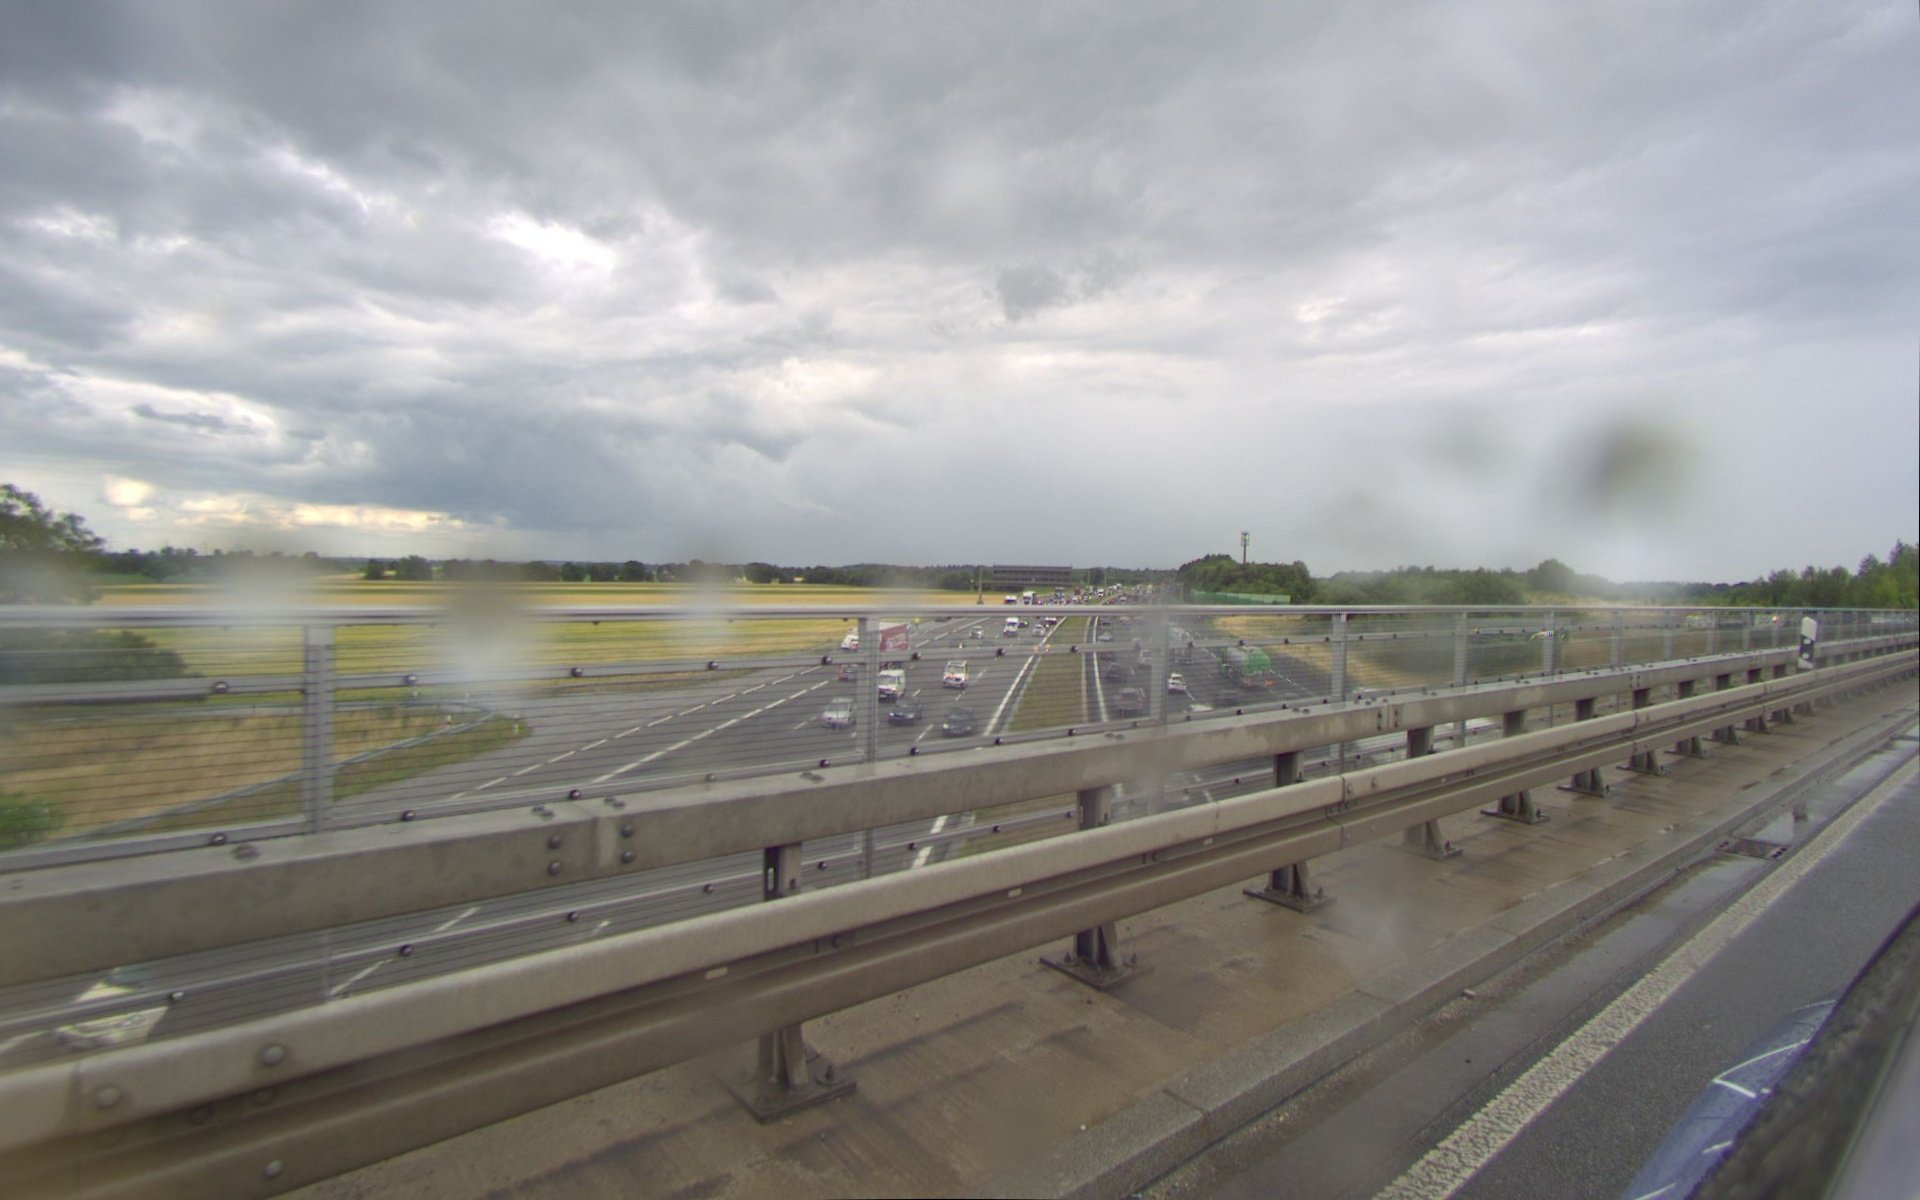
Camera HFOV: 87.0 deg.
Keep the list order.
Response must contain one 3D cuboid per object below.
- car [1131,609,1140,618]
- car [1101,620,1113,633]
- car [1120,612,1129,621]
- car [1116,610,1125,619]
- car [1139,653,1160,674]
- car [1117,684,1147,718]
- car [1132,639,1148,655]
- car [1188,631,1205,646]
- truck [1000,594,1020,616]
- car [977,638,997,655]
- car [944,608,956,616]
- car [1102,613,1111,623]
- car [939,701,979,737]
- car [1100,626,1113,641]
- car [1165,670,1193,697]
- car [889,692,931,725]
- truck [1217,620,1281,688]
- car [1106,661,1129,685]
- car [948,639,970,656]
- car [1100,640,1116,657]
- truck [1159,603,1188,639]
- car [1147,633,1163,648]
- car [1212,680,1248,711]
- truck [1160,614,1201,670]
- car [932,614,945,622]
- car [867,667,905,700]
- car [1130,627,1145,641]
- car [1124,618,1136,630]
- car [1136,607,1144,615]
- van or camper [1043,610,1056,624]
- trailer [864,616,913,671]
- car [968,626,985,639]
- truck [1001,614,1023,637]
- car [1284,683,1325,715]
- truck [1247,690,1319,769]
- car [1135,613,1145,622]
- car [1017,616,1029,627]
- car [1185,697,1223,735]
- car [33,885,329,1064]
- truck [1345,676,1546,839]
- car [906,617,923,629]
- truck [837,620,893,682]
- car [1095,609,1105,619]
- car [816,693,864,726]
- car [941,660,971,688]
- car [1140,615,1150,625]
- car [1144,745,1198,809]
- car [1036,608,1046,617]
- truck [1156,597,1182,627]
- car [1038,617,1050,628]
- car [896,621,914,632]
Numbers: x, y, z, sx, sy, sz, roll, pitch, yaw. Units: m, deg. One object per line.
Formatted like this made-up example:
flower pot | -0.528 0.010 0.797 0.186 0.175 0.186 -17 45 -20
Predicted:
car | 39.950 3.075 230.076 1.826 1.797 4.713 0 0 8
car | 22.712 4.103 156.651 1.826 1.797 4.713 0 0 8
car | 33.248 3.309 204.762 1.826 1.797 4.713 0 0 8
car | 35.724 3.201 225.562 1.826 1.797 4.713 0 0 8
car | 18.990 6.340 101.428 1.826 1.797 4.713 0 0 8
car | 11.274 6.625 66.634 1.826 1.690 4.713 0 0 8
car | 22.331 5.797 125.653 1.826 1.797 4.713 0 0 8
car | 33.314 5.394 142.654 1.826 1.797 4.713 0 0 8
truck | 11.627 1.027 232.849 2.750 4.961 12.713 0 0 11
car | 3.157 5.290 116.584 1.784 1.690 4.714 0 0 8
car | -1.970 2.229 194.829 1.783 1.454 4.715 0 0 7
car | 28.366 3.434 196.107 1.826 1.797 4.713 0 0 8
car | 0.000 6.851 58.702 1.783 1.454 4.715 0 0 7
car | 20.650 4.709 142.708 1.826 1.797 4.713 0 0 8
car | 17.469 6.642 80.741 1.826 1.690 4.713 0 0 8
car | -3.043 6.616 62.240 1.783 1.454 4.715 0 0 7
truck | 26.196 4.688 92.579 3.241 5.230 15.597 0 0 7
car | 13.619 6.306 87.648 1.826 1.690 4.713 0 0 8
car | -0.120 5.247 112.266 1.784 1.690 4.714 0 0 8
car | 17.711 5.795 121.425 1.826 1.797 4.713 0 0 8
truck | 34.855 3.262 165.954 3.434 5.420 15.597 0 0 7
car | 26.288 5.384 136.404 1.826 1.797 4.713 0 0 8
car | 18.897 6.679 70.956 1.826 1.690 4.713 0 0 8
truck | 24.877 4.579 114.869 3.241 5.511 15.597 0 0 7
car | -3.890 3.262 183.618 1.783 1.454 4.715 0 0 7
car | -5.219 5.922 72.013 1.783 1.908 4.715 0 0 7
car | 25.048 4.806 142.982 1.826 1.797 4.713 0 0 8
car | 29.667 4.182 176.628 1.826 1.797 4.713 0 0 8
car | 44.175 2.612 248.284 1.826 1.797 4.713 0 0 8
van or camper | 16.956 3.240 191.746 2.025 2.481 7.313 0 0 8
trailer | -6.607 3.961 95.077 2.641 4.687 9.888 0 0 7
car | 2.341 4.509 140.983 1.784 1.690 4.714 0 0 8
truck | 7.906 3.805 152.980 2.553 3.219 8.376 0 0 8
car | 23.983 6.876 70.611 1.826 1.690 4.713 0 0 8
truck | 17.467 6.900 55.238 2.175 3.003 9.287 0 0 8
car | 37.655 3.589 211.943 1.826 1.797 4.713 0 0 8
car | 10.945 3.669 174.755 1.784 1.690 4.714 0 0 8
car | 14.769 6.992 61.456 1.826 1.690 4.713 0 0 8
car | -15.184 7.230 20.124 1.785 1.690 4.710 0 0 10
truck | 20.573 6.292 44.564 3.545 4.594 15.590 0 0 9
car | -7.007 3.587 156.741 1.826 1.690 4.713 0 0 8
truck | -7.864 4.154 85.350 2.641 4.684 9.733 0 0 7
car | 31.600 3.076 227.924 1.965 2.039 3.994 -3 0 5
car | -7.059 6.469 60.191 1.783 1.454 4.715 0 0 7
car | -0.286 5.921 81.796 1.783 1.870 4.715 0 0 7
car | 35.591 3.747 194.922 1.826 1.797 4.713 0 0 8
car | 8.495 7.113 41.115 1.826 1.690 4.713 0 0 8
car | 17.739 2.726 222.364 1.826 1.690 4.713 0 0 8
truck | 39.089 2.123 189.763 3.434 5.420 15.597 0 0 7
car | 14.210 3.809 171.183 1.826 1.690 4.713 0 0 8
car | -7.908 3.783 145.113 1.783 1.454 4.715 0 0 7
